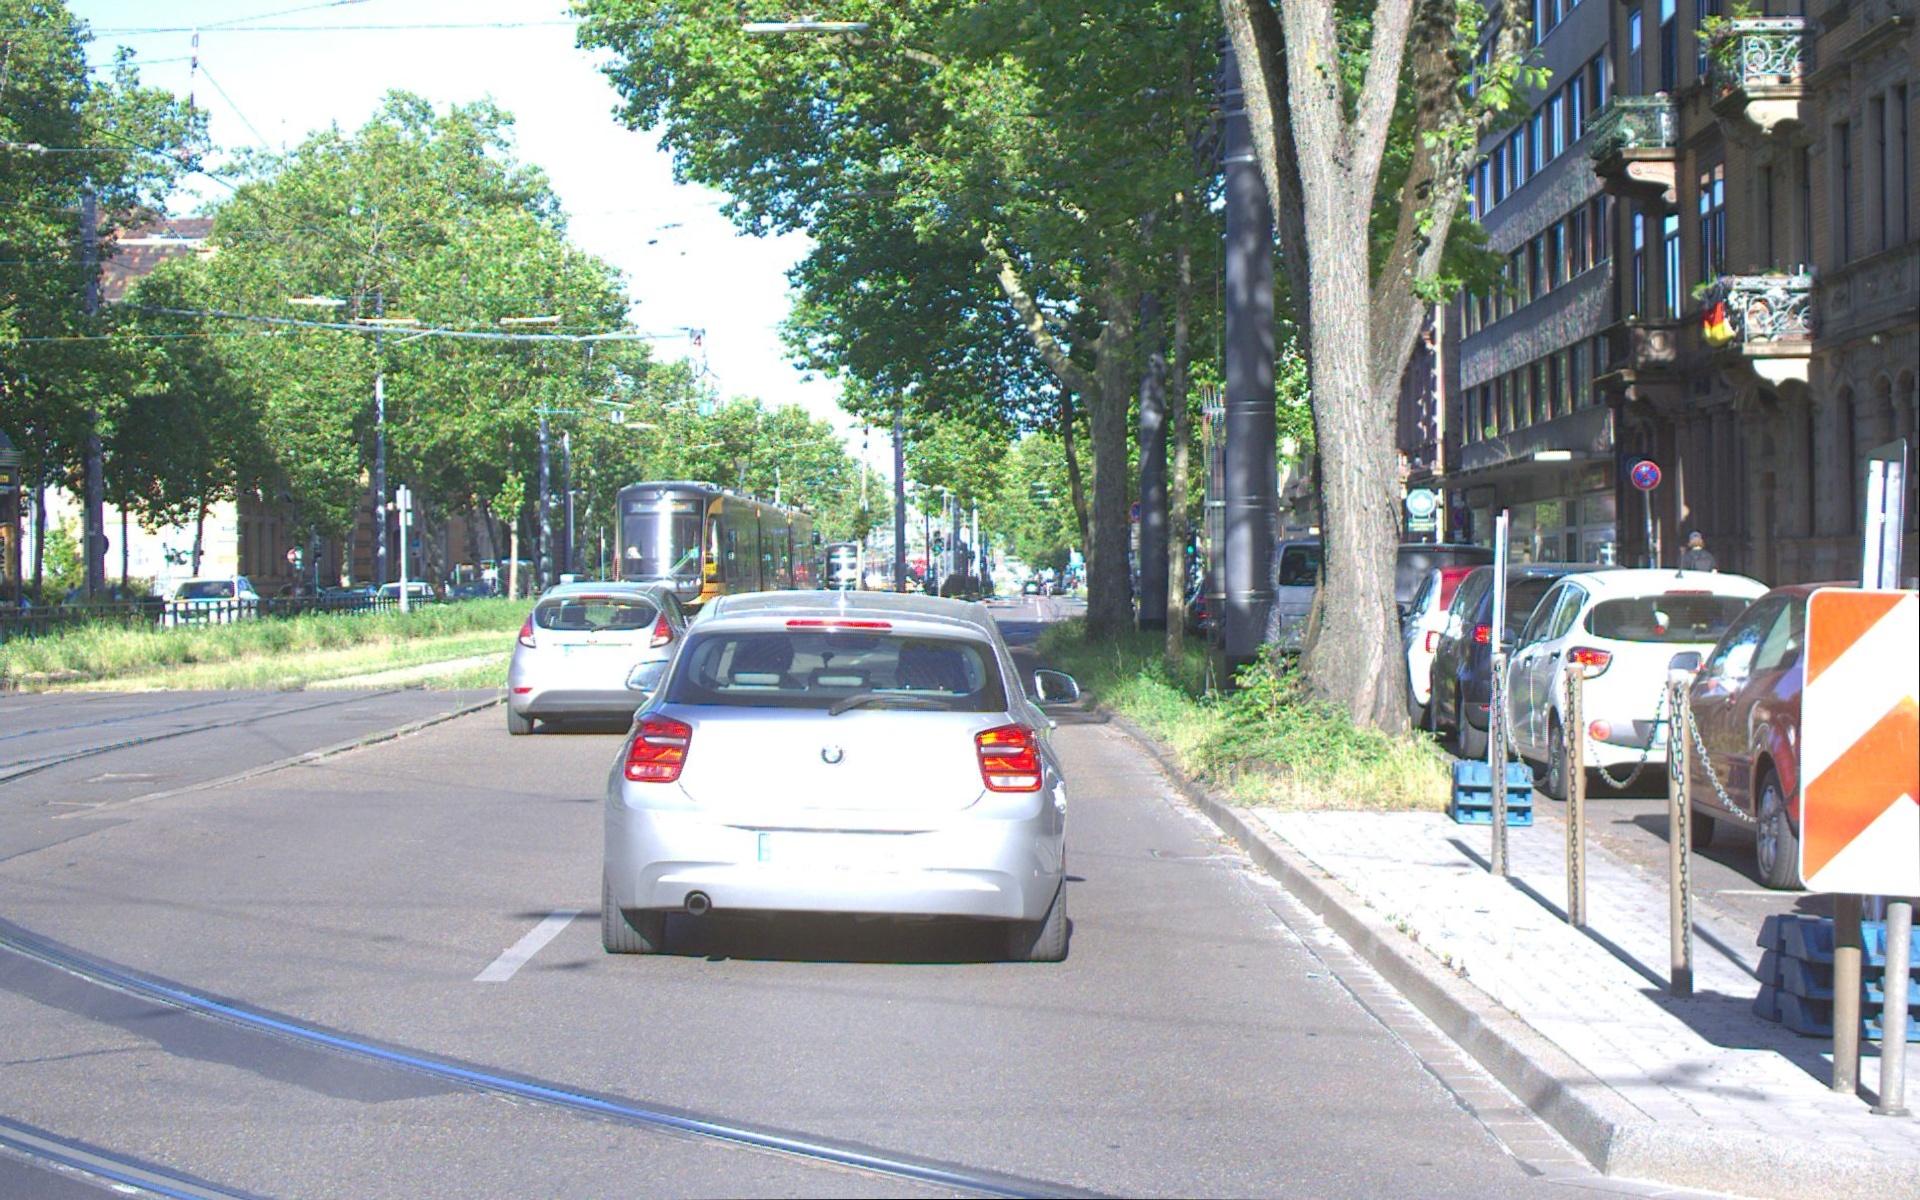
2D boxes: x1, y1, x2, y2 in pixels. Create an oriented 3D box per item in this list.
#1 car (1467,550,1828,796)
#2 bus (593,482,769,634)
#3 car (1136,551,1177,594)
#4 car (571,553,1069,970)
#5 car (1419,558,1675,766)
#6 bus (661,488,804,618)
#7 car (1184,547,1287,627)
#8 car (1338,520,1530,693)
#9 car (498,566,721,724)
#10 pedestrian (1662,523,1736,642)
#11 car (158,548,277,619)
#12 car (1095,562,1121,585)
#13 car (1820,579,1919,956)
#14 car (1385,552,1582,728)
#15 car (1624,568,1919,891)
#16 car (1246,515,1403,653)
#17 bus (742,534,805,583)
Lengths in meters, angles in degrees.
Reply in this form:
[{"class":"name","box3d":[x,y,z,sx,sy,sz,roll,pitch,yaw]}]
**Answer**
[{"class":"car","box3d":[4.594,0.431,23.453,1.626,1.472,3.698,2,1,-1]},{"class":"bus","box3d":[-6.649,-1.046,84.042,2.869,3.432,13.216,0,1,2]},{"class":"car","box3d":[9.311,-1.302,162.836,1.754,1.958,4.737,0,1,1]},{"class":"car","box3d":[-0.478,0.550,14.311,1.762,1.427,4.000,1,1,1]},{"class":"car","box3d":[4.639,0.442,27.611,1.562,1.480,3.786,2,1,3]},{"class":"bus","box3d":[-6.269,-1.328,96.552,2.869,3.432,12.214,0,1,2]},{"class":"car","box3d":[5.403,-0.273,67.908,1.806,1.484,4.919,2,1,3]},{"class":"car","box3d":[4.902,0.018,35.988,1.625,1.662,4.141,2,1,3]},{"class":"car","box3d":[-3.349,0.395,33.473,1.647,1.358,3.760,2,1,2]},{"class":"pedestrian","box3d":[11.529,-0.281,53.665,1.000,1.833,0.715,1,1,3]},{"class":"car","box3d":[-18.261,-0.441,84.715,1.885,1.614,4.598,2,1,0]},{"class":"car","box3d":[10.479,-1.862,243.584,1.700,1.529,3.716,2,1,2]},{"class":"car","box3d":[4.528,0.688,12.648,1.696,1.416,4.169,2,1,1]},{"class":"car","box3d":[4.814,0.326,31.939,1.512,1.475,3.491,2,1,4]},{"class":"car","box3d":[4.605,0.595,17.861,1.589,1.429,3.905,2,1,1]},{"class":"car","box3d":[5.129,-0.269,48.864,1.865,1.809,4.799,2,1,2]},{"class":"bus","box3d":[-14.421,-3.297,267.717,2.869,3.616,24.603,0,1,2]}]
